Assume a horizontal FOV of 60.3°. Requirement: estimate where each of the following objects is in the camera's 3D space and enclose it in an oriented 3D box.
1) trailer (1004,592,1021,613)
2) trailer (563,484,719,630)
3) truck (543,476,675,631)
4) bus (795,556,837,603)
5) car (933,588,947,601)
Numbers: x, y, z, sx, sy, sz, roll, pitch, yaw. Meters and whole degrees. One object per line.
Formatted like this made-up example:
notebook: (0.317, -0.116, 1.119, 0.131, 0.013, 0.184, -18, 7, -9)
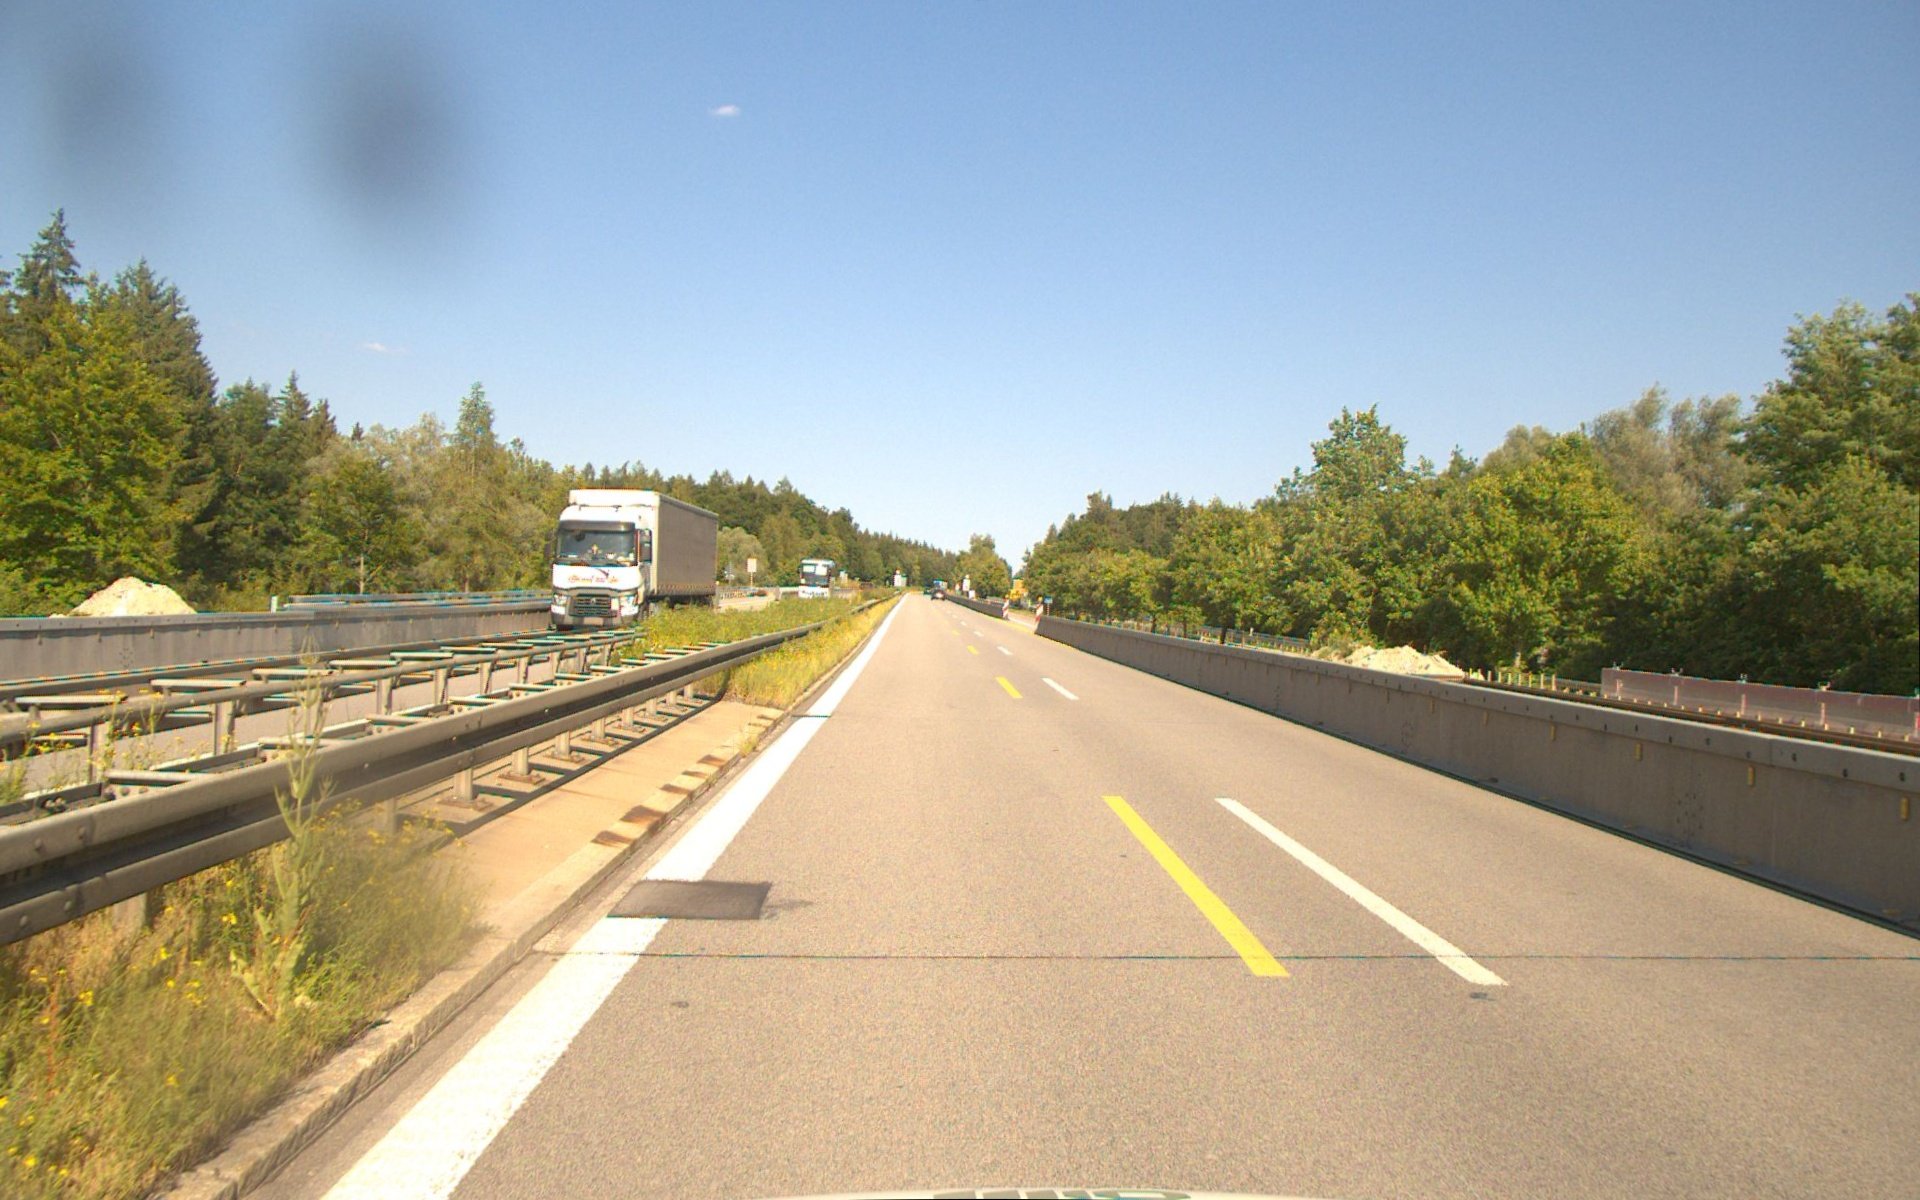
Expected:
trailer: (4.945, 0.194, 155.440, 1.103, 1.906, 3.997, 3, 0, -4)
trailer: (-10.122, -1.256, 54.276, 2.686, 4.141, 13.992, 1, 0, -1)
truck: (-10.002, -1.269, 47.638, 2.714, 4.159, 5.474, 1, 0, -1)
bus: (-12.418, -1.781, 143.346, 2.824, 3.734, 12.912, 3, 0, -2)
car: (-2.578, -0.710, 213.400, 1.709, 1.491, 4.292, 3, 0, -2)
